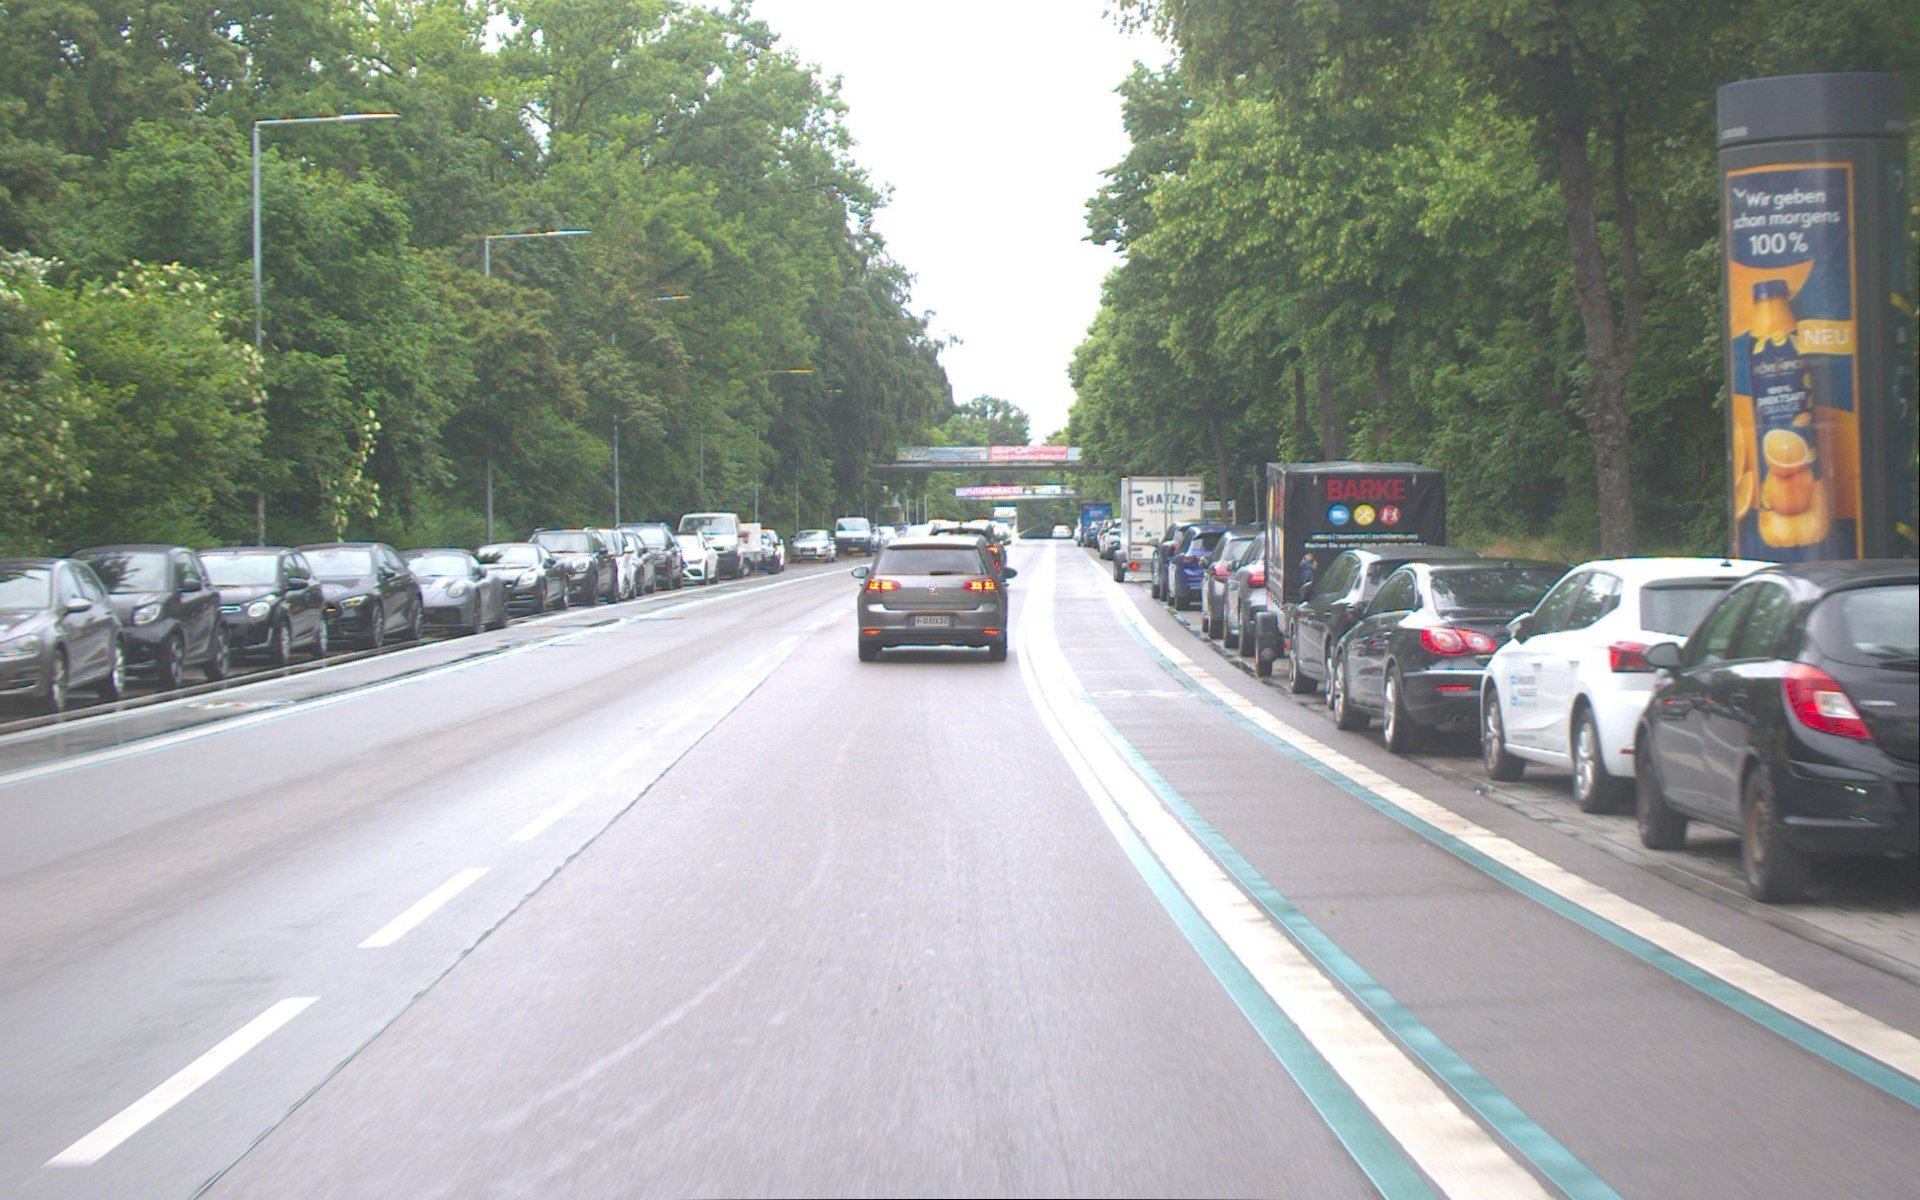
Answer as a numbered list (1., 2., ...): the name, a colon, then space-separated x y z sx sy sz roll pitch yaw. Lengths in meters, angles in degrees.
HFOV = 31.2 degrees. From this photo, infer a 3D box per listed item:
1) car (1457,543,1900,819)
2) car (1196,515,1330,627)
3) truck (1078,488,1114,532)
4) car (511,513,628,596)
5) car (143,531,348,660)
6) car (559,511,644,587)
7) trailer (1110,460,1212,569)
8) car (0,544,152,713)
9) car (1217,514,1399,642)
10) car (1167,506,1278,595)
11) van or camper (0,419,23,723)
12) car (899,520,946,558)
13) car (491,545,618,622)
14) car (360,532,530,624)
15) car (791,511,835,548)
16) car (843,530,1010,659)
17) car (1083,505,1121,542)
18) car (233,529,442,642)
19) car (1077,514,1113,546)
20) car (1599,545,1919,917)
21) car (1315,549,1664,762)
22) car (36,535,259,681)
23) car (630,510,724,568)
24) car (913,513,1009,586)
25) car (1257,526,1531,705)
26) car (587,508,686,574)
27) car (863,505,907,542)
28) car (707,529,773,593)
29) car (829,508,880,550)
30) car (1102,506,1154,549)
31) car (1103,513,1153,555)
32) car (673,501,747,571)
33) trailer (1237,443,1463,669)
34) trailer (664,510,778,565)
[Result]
1. car: 4.192 0.407 20.673 1.617 1.461 4.001 1 1 -3
2. car: 4.177 -0.435 47.823 1.615 1.465 4.000 0 1 2
3. truck: 8.158 -5.432 206.510 2.113 2.590 4.301 -1 2 2
4. car: -7.765 -0.938 68.642 1.696 1.578 4.139 -1 2 2
5. car: -9.007 -0.096 43.609 1.603 1.505 3.977 -1 2 2
6. car: -7.595 -1.102 73.101 1.461 1.565 2.984 -1 2 0
7. trailer: 4.848 -2.087 83.345 2.132 2.551 4.298 -1 2 -1
8. car: -9.202 0.246 33.526 1.679 1.493 4.149 -2 1 -1
9. car: 4.211 -0.309 42.200 1.795 1.445 4.428 -1 2 0
10. car: 4.586 -0.899 60.495 1.682 1.476 4.319 0 2 1
11. van or camper: -9.425 -0.169 27.372 2.144 2.618 5.682 -1 2 2
12. car: -1.523 -2.506 140.679 1.698 1.479 4.035 -2 2 2
13. car: -7.470 -0.329 63.641 1.696 1.296 4.192 -1 2 2
14. car: -7.905 -0.365 53.127 1.870 1.299 4.470 -1 2 1
15. car: -6.271 -3.016 146.821 1.672 1.508 3.630 0 2 1
16. car: -0.406 -0.064 41.007 1.871 1.436 4.296 1 0 -1
17. car: 7.911 -4.276 191.585 1.993 2.007 4.000 -1 1 0
18. car: -8.673 -0.238 48.217 1.994 1.447 4.138 -1 2 3
19. car: 7.804 -4.031 198.954 1.993 1.766 4.000 -2 1 2
20. car: 4.162 0.517 15.954 1.659 1.460 3.900 1 1 0
21. car: 3.854 0.349 25.763 1.751 1.388 4.446 1 1 -2
22. car: -8.993 0.056 38.260 1.603 1.505 3.139 -1 2 2
23. car: -7.495 -1.647 91.475 1.993 1.483 4.468 -1 1 2
24. car: -0.011 -1.087 72.527 1.880 1.461 4.001 1 2 -2
25. car: 3.907 0.090 31.603 1.822 1.480 4.200 1 1 -2
26. car: -7.963 -1.474 84.963 1.879 1.556 4.468 -1 1 2
27. car: -4.258 -4.375 196.156 2.159 2.006 5.031 -1 2 2
28. car: -7.163 -1.304 112.455 1.940 2.006 4.741 -1 2 -1
29. car: -5.254 -3.545 171.462 2.159 2.006 5.031 -1 2 2
30. car: 6.425 -2.780 131.802 1.897 1.601 4.000 -1 2 2
31. car: 6.637 -2.633 136.418 1.897 1.601 4.000 -1 2 2
32. car: -7.386 -1.929 101.852 1.940 2.006 4.741 -1 2 -1
33. trailer: 4.097 -0.507 36.805 1.906 2.240 4.768 0 2 1
34. trailer: -7.411 -1.948 106.836 1.628 1.623 3.666 0 2 33
